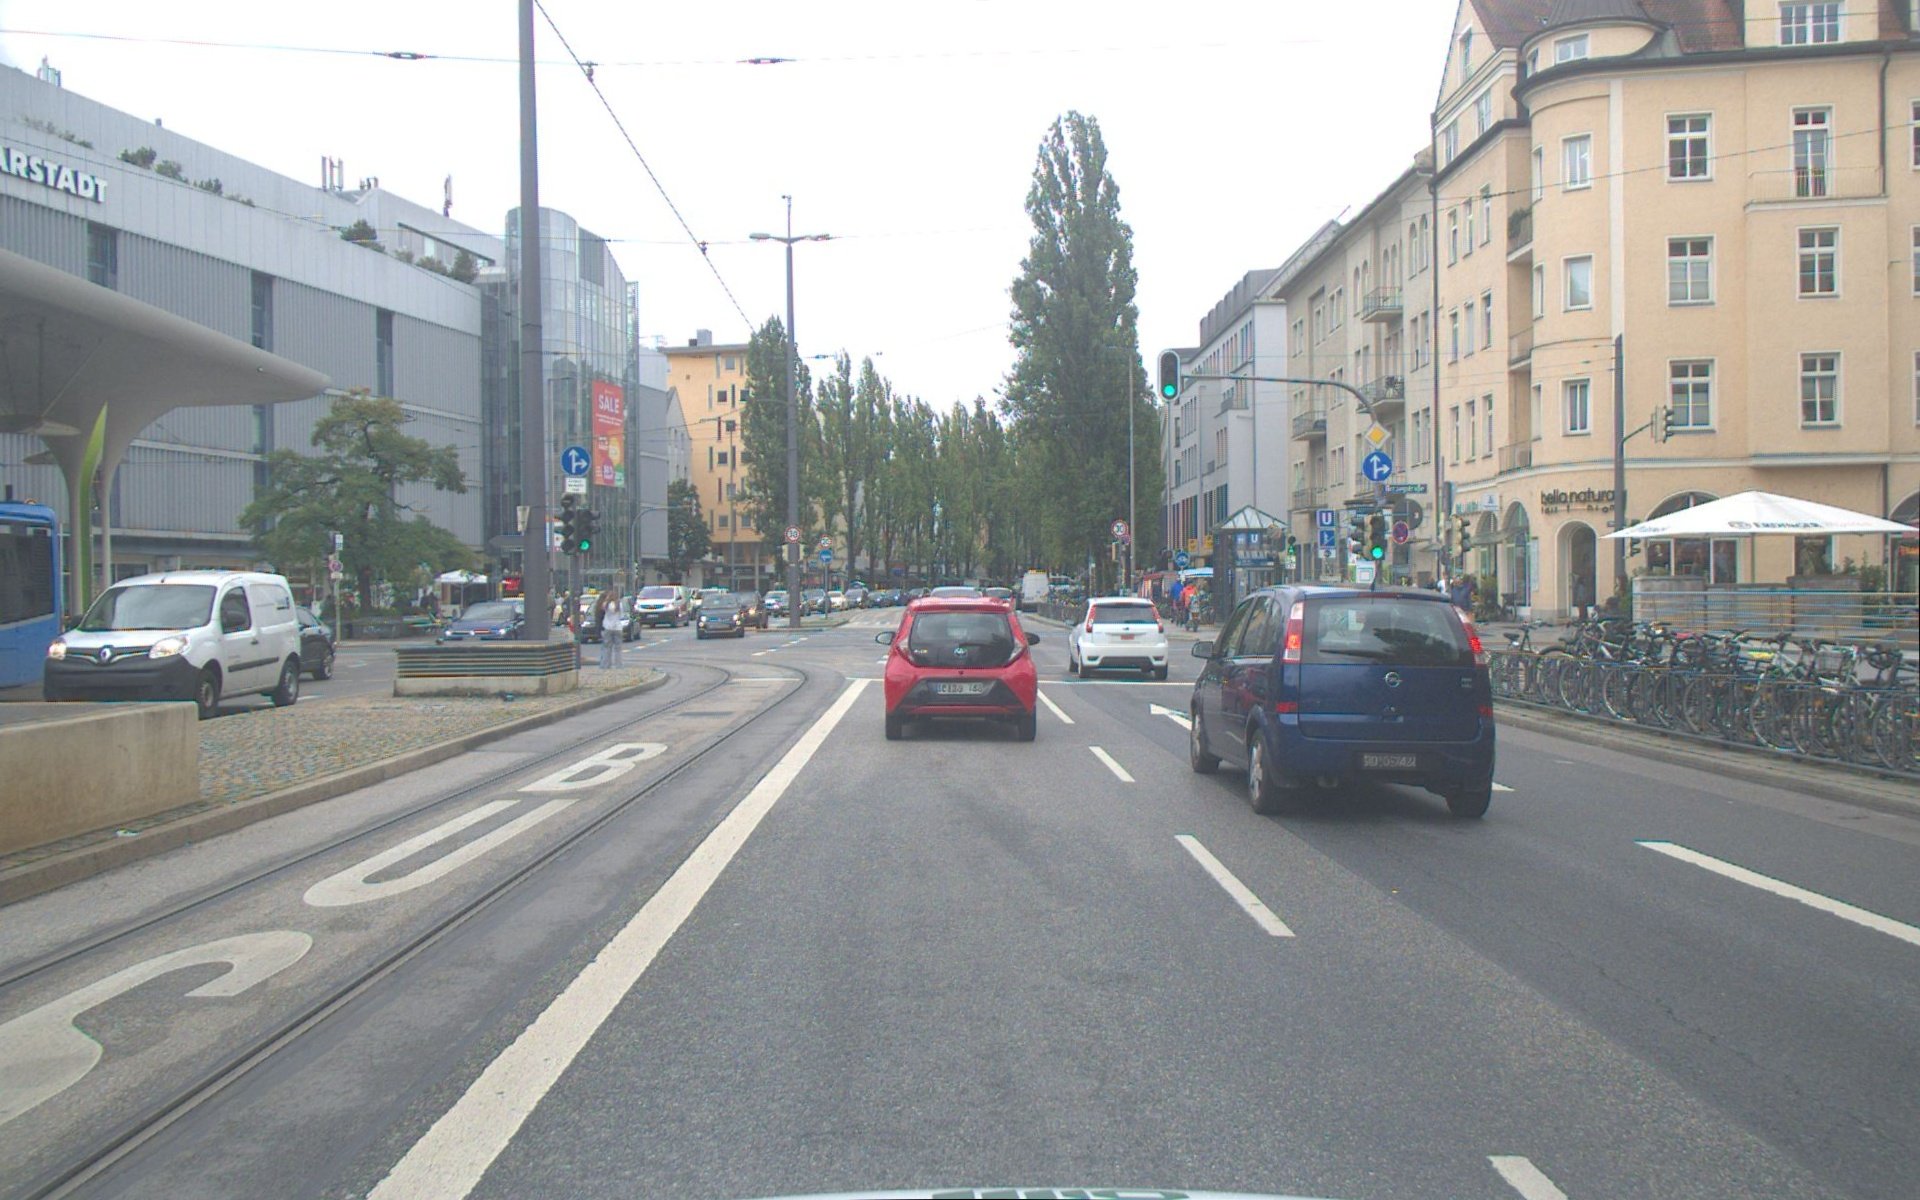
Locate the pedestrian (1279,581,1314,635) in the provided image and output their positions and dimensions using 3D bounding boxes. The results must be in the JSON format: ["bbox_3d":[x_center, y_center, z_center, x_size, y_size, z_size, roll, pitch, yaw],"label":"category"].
[{"bbox_3d":[10.802,0.246,53.149,0.820,1.720,0.816,-1,0,37],"label":"pedestrian"}]

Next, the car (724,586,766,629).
[{"bbox_3d":[-8.147,0.275,62.572,1.476,1.561,2.831,-1,0,-10],"label":"car"}]

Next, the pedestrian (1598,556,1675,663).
[{"bbox_3d":[11.533,0.157,28.211,0.867,1.773,0.854,-1,0,-17],"label":"pedestrian"}]

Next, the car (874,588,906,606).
[{"bbox_3d":[-6.152,-0.246,146.048,1.951,1.561,4.591,-1,0,9],"label":"car"}]

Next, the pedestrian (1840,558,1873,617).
[{"bbox_3d":[27.070,-0.392,49.936,0.666,1.734,0.748,-1,3,9],"label":"pedestrian"}]

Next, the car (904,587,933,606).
[{"bbox_3d":[-3.878,-0.311,156.399,1.951,1.721,4.925,-1,0,8],"label":"car"}]

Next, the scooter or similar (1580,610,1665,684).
[{"bbox_3d":[10.204,0.709,25.521,0.760,1.094,1.256,-1,0,-2],"label":"scooter or similar"}]

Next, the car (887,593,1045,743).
[{"bbox_3d":[0.072,0.675,18.183,1.572,1.487,3.130,-1,0,0],"label":"car"}]

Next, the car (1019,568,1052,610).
[{"bbox_3d":[5.104,-0.717,112.288,2.063,2.766,4.804,-1,0,0],"label":"car"}]

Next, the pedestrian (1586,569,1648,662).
[{"bbox_3d":[12.440,0.287,31.325,0.749,1.725,0.761,-1,0,-26],"label":"pedestrian"}]

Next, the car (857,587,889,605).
[{"bbox_3d":[-7.332,-0.325,139.760,1.805,1.407,4.604,0,0,8],"label":"car"}]

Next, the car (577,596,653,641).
[{"bbox_3d":[-11.760,0.618,56.611,1.805,1.441,4.034,-1,0,-1],"label":"car"}]

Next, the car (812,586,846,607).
[{"bbox_3d":[-9.530,-0.255,120.642,1.728,1.446,4.642,-1,0,4],"label":"car"}]

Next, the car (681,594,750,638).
[{"bbox_3d":[-8.498,0.529,57.245,1.525,1.471,3.514,-1,0,-23],"label":"car"}]

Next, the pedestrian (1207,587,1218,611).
[{"bbox_3d":[15.111,-0.051,98.869,0.563,1.427,0.580,-1,0,-1],"label":"pedestrian"}]

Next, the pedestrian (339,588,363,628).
[{"bbox_3d":[-26.346,0.327,71.586,0.779,1.717,0.852,-1,0,-35],"label":"pedestrian"}]

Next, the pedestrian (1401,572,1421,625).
[{"bbox_3d":[14.833,-0.043,54.393,0.554,1.699,0.562,0,3,22],"label":"pedestrian"}]

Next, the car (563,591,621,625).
[{"bbox_3d":[-18.073,0.387,81.417,1.862,1.570,4.393,-1,1,0],"label":"car"}]

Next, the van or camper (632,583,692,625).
[{"bbox_3d":[-13.637,0.166,75.956,1.889,1.857,5.439,-1,0,-2],"label":"van or camper"}]

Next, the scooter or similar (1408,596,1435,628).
[{"bbox_3d":[14.954,0.387,53.590,0.803,1.011,0.593,0,4,22],"label":"scooter or similar"}]

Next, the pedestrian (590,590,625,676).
[{"bbox_3d":[-6.872,0.639,32.273,0.482,1.646,0.551,-1,0,-35],"label":"pedestrian"}]

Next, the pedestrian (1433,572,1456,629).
[{"bbox_3d":[15.624,0.019,53.307,0.635,1.781,0.637,0,3,22],"label":"pedestrian"}]

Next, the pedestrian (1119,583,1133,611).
[{"bbox_3d":[10.607,-0.202,105.775,0.774,1.758,0.764,-1,0,-1],"label":"pedestrian"}]

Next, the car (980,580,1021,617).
[{"bbox_3d":[2.074,-0.093,85.964,1.953,1.870,4.000,-1,0,-1],"label":"car"}]

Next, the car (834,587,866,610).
[{"bbox_3d":[-8.694,-0.150,130.810,1.895,1.769,4.591,0,0,4],"label":"car"}]

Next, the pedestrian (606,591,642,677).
[{"bbox_3d":[-6.514,0.644,32.075,0.513,1.646,0.461,-1,0,43],"label":"pedestrian"}]

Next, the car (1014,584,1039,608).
[{"bbox_3d":[4.755,-0.283,118.353,1.668,1.691,3.556,0,0,0],"label":"car"}]

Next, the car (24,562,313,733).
[{"bbox_3d":[-9.806,0.528,20.896,1.750,1.887,4.216,-2,0,-3],"label":"car"}]

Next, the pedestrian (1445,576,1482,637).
[{"bbox_3d":[15.201,0.191,49.961,0.913,1.786,1.066,-1,0,11],"label":"pedestrian"}]

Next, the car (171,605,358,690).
[{"bbox_3d":[-12.786,0.827,30.726,1.639,1.402,4.612,-1,0,-2],"label":"car"}]

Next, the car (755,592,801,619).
[{"bbox_3d":[-10.957,0.297,99.871,1.952,1.436,4.170,5,0,4],"label":"car"}]

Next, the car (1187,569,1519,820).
[{"bbox_3d":[2.863,0.619,12.791,1.668,1.617,3.556,2,0,0],"label":"car"}]

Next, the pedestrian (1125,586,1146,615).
[{"bbox_3d":[9.379,0.026,88.428,0.802,1.548,0.790,-1,0,-36],"label":"pedestrian"}]

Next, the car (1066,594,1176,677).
[{"bbox_3d":[2.980,0.633,31.213,1.665,1.451,3.496,-1,0,-1],"label":"car"}]

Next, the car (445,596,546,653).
[{"bbox_3d":[-12.454,0.621,44.609,1.644,1.420,4.231,-2,0,-2],"label":"car"}]

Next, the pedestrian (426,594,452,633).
[{"bbox_3d":[-22.454,0.585,71.266,0.754,1.683,0.752,-1,0,10],"label":"pedestrian"}]

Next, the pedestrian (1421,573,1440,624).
[{"bbox_3d":[15.506,-0.043,54.516,0.548,1.637,0.568,-1,3,12],"label":"pedestrian"}]

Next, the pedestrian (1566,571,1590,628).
[{"bbox_3d":[19.184,-0.018,51.303,0.666,1.714,0.747,0,4,23],"label":"pedestrian"}]

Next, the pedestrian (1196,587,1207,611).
[{"bbox_3d":[14.438,-0.065,98.888,0.586,1.427,0.580,-1,0,-1],"label":"pedestrian"}]

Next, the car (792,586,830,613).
[{"bbox_3d":[-9.956,-0.037,110.622,1.706,1.699,4.735,-1,1,5],"label":"car"}]

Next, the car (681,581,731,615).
[{"bbox_3d":[-16.086,-0.094,104.963,1.952,2.049,5.525,0,-1,4],"label":"car"}]

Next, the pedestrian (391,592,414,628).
[{"bbox_3d":[-24.006,0.440,71.244,0.743,1.519,0.763,-1,0,-35],"label":"pedestrian"}]

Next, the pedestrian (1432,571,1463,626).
[{"bbox_3d":[16.001,-0.068,54.278,0.637,1.734,0.726,-3,4,-30],"label":"pedestrian"}]

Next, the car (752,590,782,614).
[{"bbox_3d":[-13.023,0.121,111.730,1.664,1.624,3.999,-1,0,-1],"label":"car"}]

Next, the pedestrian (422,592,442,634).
[{"bbox_3d":[-23.048,0.567,72.190,0.739,1.804,0.767,-1,0,-24],"label":"pedestrian"}]

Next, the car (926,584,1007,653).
[{"bbox_3d":[0.139,0.442,42.160,1.953,1.646,3.999,-1,0,-1],"label":"car"}]
